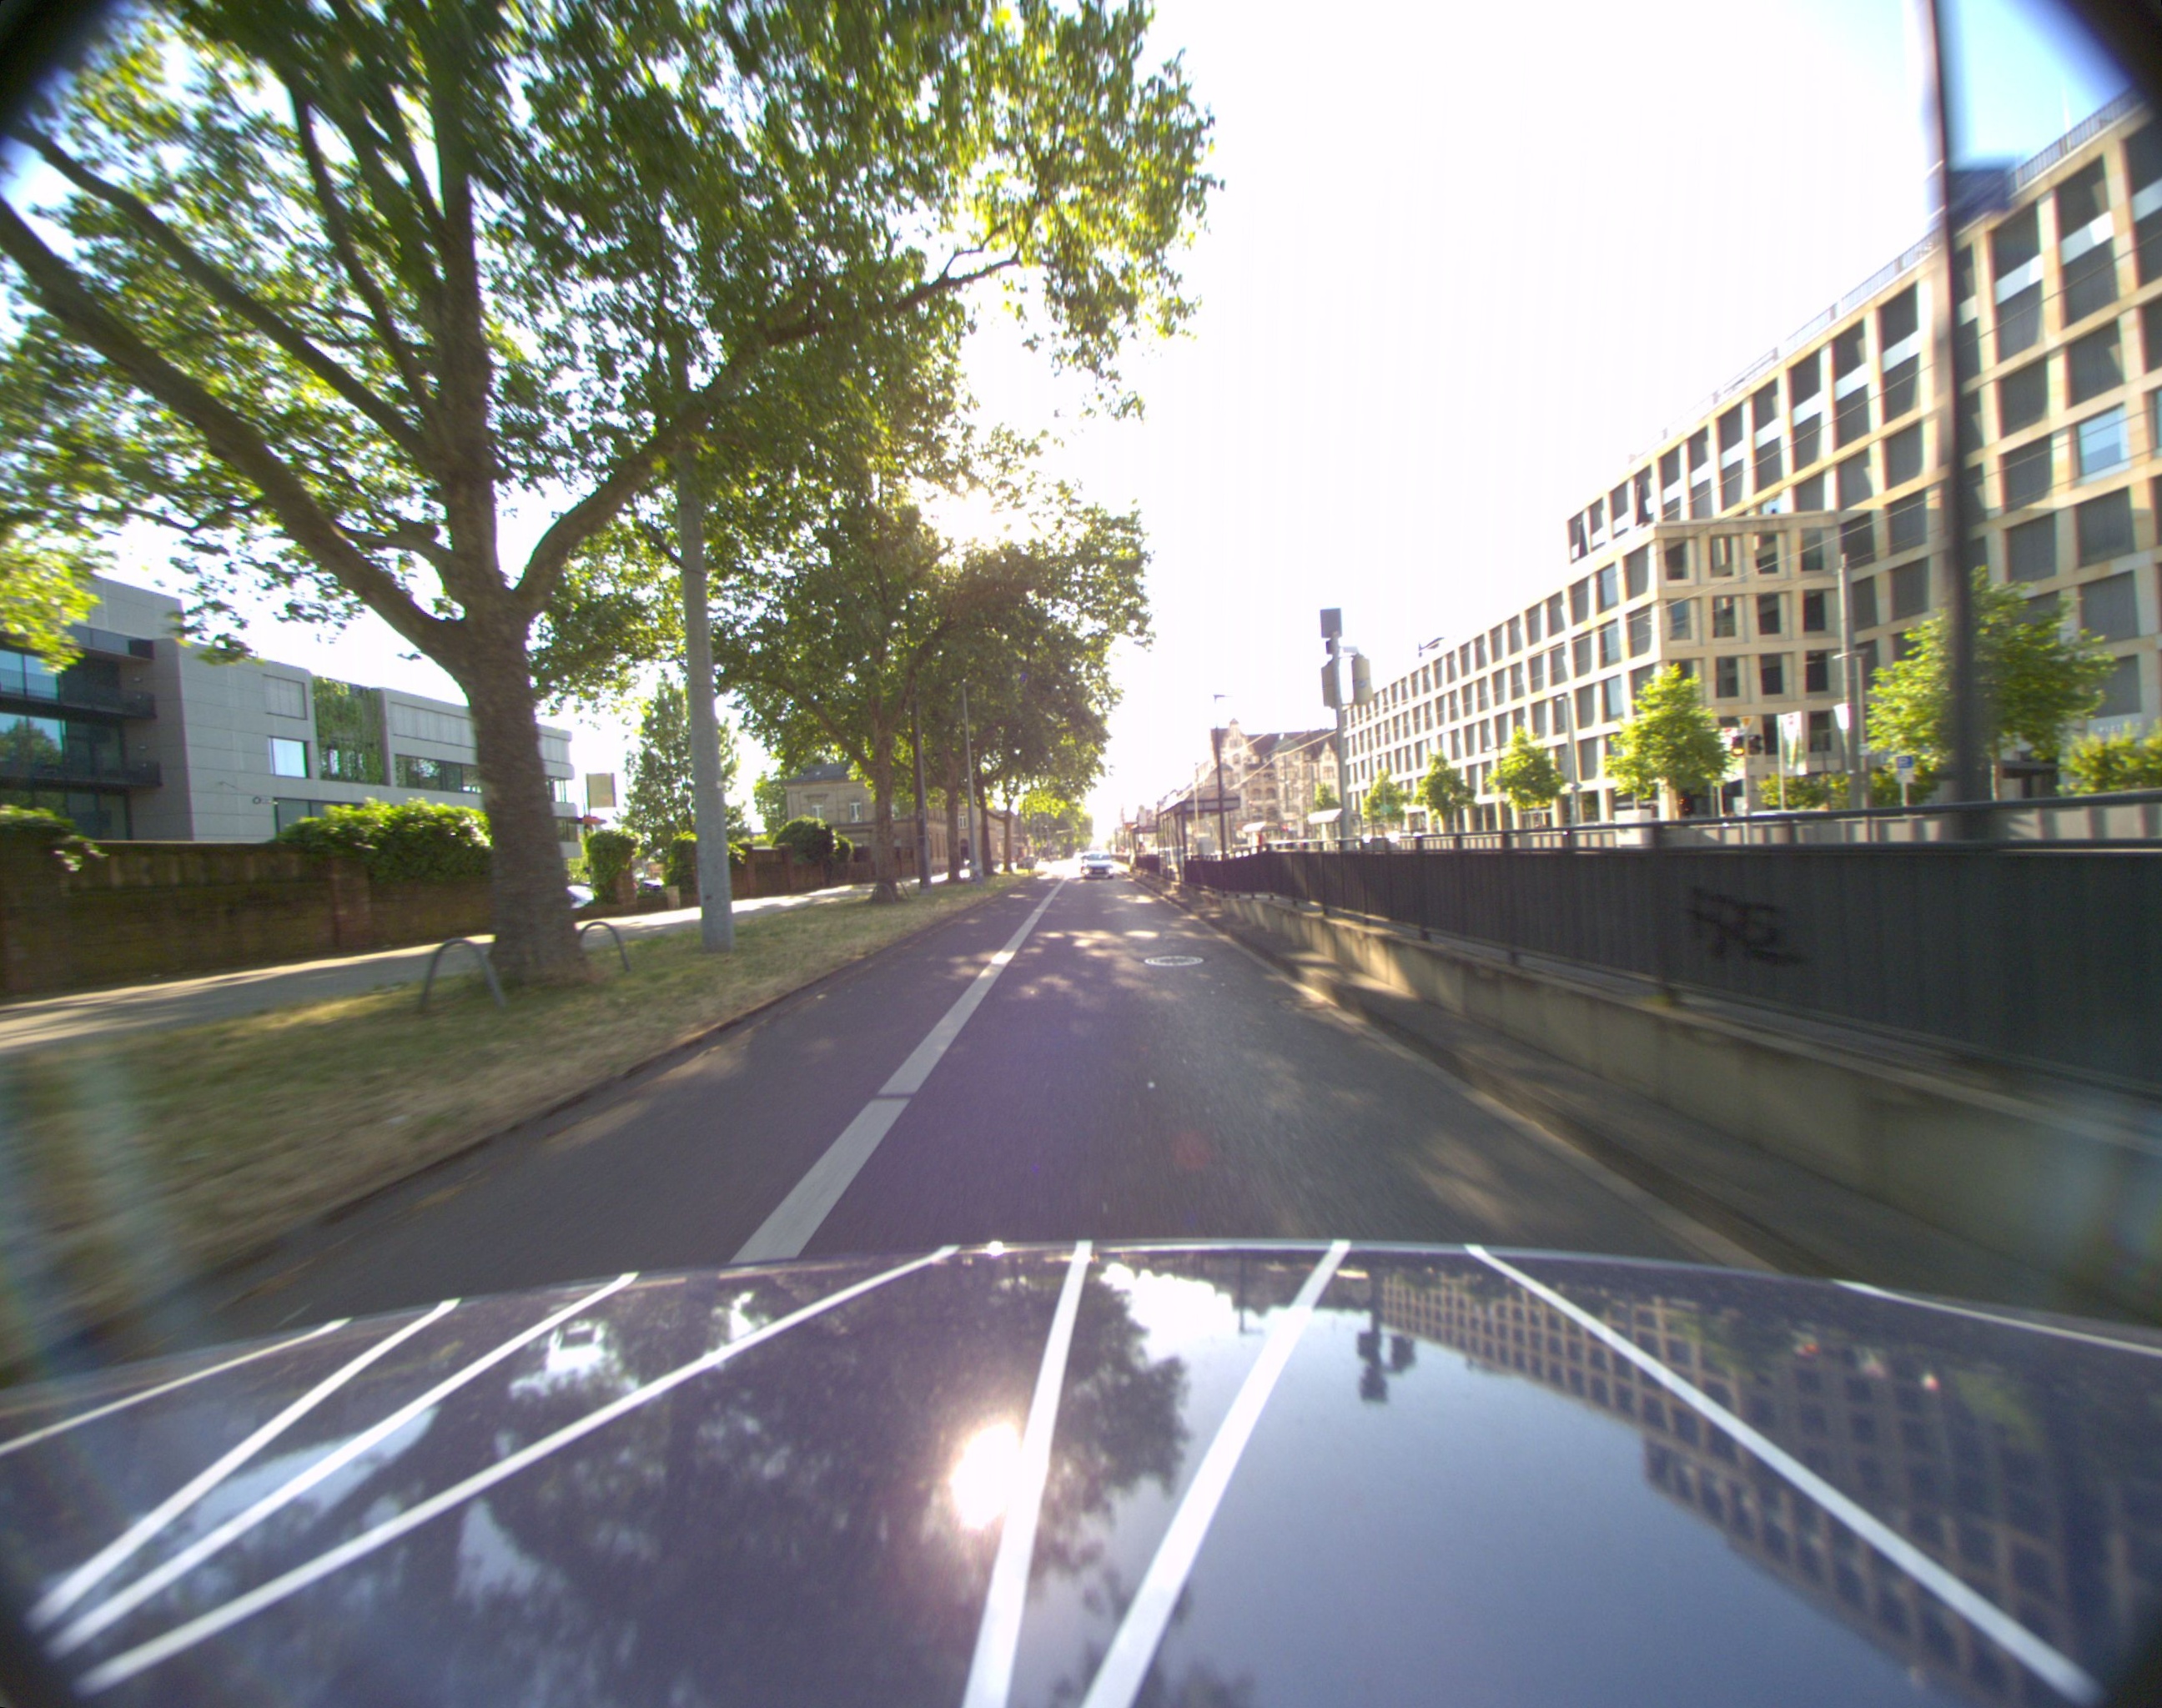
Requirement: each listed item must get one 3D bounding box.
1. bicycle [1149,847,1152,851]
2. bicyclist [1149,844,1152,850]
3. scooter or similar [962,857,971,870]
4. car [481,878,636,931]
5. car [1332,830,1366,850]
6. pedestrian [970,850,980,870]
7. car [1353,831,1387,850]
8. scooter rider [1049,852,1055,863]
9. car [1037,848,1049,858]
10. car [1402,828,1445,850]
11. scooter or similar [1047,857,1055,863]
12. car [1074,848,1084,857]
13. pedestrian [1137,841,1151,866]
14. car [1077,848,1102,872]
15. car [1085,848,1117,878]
[{"bbox_3d":[20.632,-1.498,225.014,0.607,0.996,2.068,-3,0,-2],"label":"bicycle"},{"bbox_3d":[20.601,-2.100,224.937,0.683,1.609,0.630,-3,1,-2],"label":"bicyclist"},{"bbox_3d":[-10.374,0.824,68.948,0.720,1.149,0.759,-2,1,-6],"label":"scooter or similar"},{"bbox_3d":[-19.023,1.788,27.841,4.117,1.512,2.040,-4,1,-8],"label":"car"},{"bbox_3d":[26.261,-1.371,74.610,1.923,1.759,4.000,-4,0,1],"label":"car"},{"bbox_3d":[-9.652,0.525,69.072,0.771,1.734,0.796,-2,1,-6],"label":"pedestrian"},{"bbox_3d":[26.065,-1.231,68.697,1.649,1.553,3.650,-4,0,1],"label":"car"},{"bbox_3d":[-3.815,0.513,100.619,0.703,1.389,0.599,-4,1,1],"label":"scooter rider"},{"bbox_3d":[-8.055,-0.201,160.163,1.833,2.035,4.000,-4,1,4],"label":"car"},{"bbox_3d":[25.967,-1.089,57.745,1.649,1.503,3.600,-4,0,1],"label":"car"},{"bbox_3d":[-3.965,0.812,100.537,1.023,0.807,0.265,-4,1,0],"label":"scooter or similar"},{"bbox_3d":[-0.355,-0.303,150.293,1.833,1.645,3.999,-4,1,1],"label":"car"},{"bbox_3d":[3.913,-0.017,47.266,0.747,1.500,0.666,-3,1,3],"label":"pedestrian"},{"bbox_3d":[0.635,0.432,55.460,1.649,1.555,3.666,-5,1,1],"label":"car"},{"bbox_3d":[1.121,0.468,43.416,1.649,1.555,3.665,-4,1,0],"label":"car"}]
